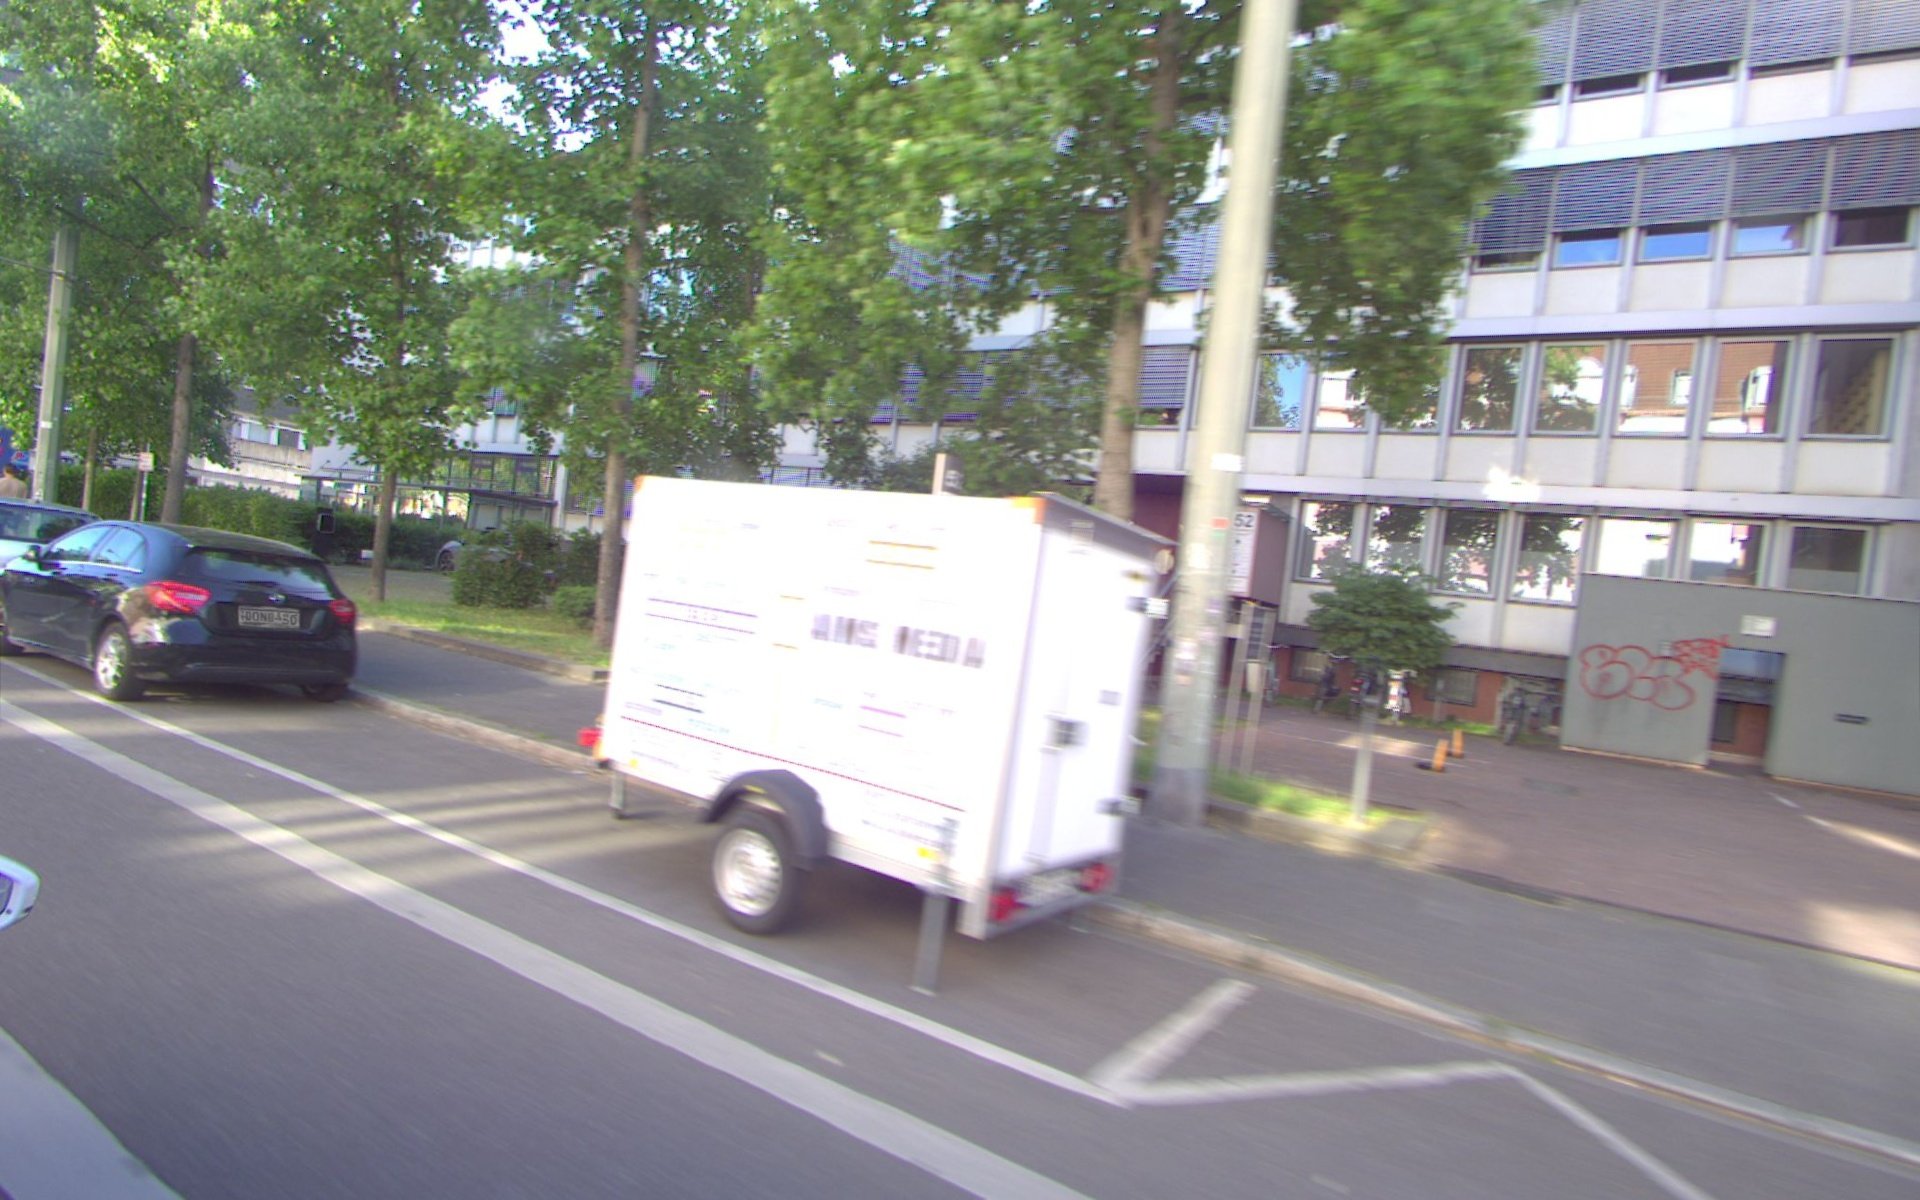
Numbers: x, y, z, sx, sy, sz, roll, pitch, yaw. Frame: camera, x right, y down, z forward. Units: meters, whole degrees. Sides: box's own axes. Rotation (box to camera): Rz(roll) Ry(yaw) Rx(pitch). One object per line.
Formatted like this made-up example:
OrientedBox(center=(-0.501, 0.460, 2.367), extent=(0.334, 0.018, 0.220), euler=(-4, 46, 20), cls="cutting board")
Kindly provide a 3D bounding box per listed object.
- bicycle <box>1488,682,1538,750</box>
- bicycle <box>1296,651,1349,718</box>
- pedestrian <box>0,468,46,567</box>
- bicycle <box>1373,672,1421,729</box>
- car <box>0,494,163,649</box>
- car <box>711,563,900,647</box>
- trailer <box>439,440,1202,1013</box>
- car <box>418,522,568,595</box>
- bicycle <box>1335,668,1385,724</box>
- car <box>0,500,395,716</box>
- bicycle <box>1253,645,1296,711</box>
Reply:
OrientedBox(center=(9.515, 1.972, 17.334), extent=(0.441, 0.975, 1.586), euler=(7, 2, 21), cls="bicycle")
OrientedBox(center=(6.701, 1.531, 18.560), extent=(0.442, 1.140, 1.583), euler=(8, 2, 33), cls="bicycle")
OrientedBox(center=(-19.137, -1.679, 20.464), extent=(0.736, 1.924, 0.667), euler=(7, 5, 37), cls="pedestrian")
OrientedBox(center=(7.891, 1.795, 18.133), extent=(0.442, 0.887, 1.583), euler=(7, 2, 33), cls="bicycle")
OrientedBox(center=(-11.044, -0.473, 11.624), extent=(4.248, 1.460, 1.750), euler=(7, 0, 37), cls="car")
OrientedBox(center=(-3.626, 0.110, 23.589), extent=(3.928, 1.482, 1.794), euler=(7, 0, 25), cls="car")
OrientedBox(center=(-0.891, 0.389, 5.525), extent=(3.780, 2.142, 1.663), euler=(7, -1, 33), cls="trailer")
OrientedBox(center=(-13.901, -1.242, 29.924), extent=(4.235, 1.556, 1.792), euler=(8, 1, 29), cls="car")
OrientedBox(center=(7.282, 1.722, 18.291), extent=(0.442, 0.887, 1.583), euler=(7, 2, 33), cls="bicycle")
OrientedBox(center=(-7.426, 0.016, 9.317), extent=(4.251, 1.451, 1.807), euler=(7, -2, 30), cls="car")
OrientedBox(center=(5.997, 1.451, 19.143), extent=(0.441, 1.129, 1.585), euler=(7, 2, 26), cls="bicycle")
